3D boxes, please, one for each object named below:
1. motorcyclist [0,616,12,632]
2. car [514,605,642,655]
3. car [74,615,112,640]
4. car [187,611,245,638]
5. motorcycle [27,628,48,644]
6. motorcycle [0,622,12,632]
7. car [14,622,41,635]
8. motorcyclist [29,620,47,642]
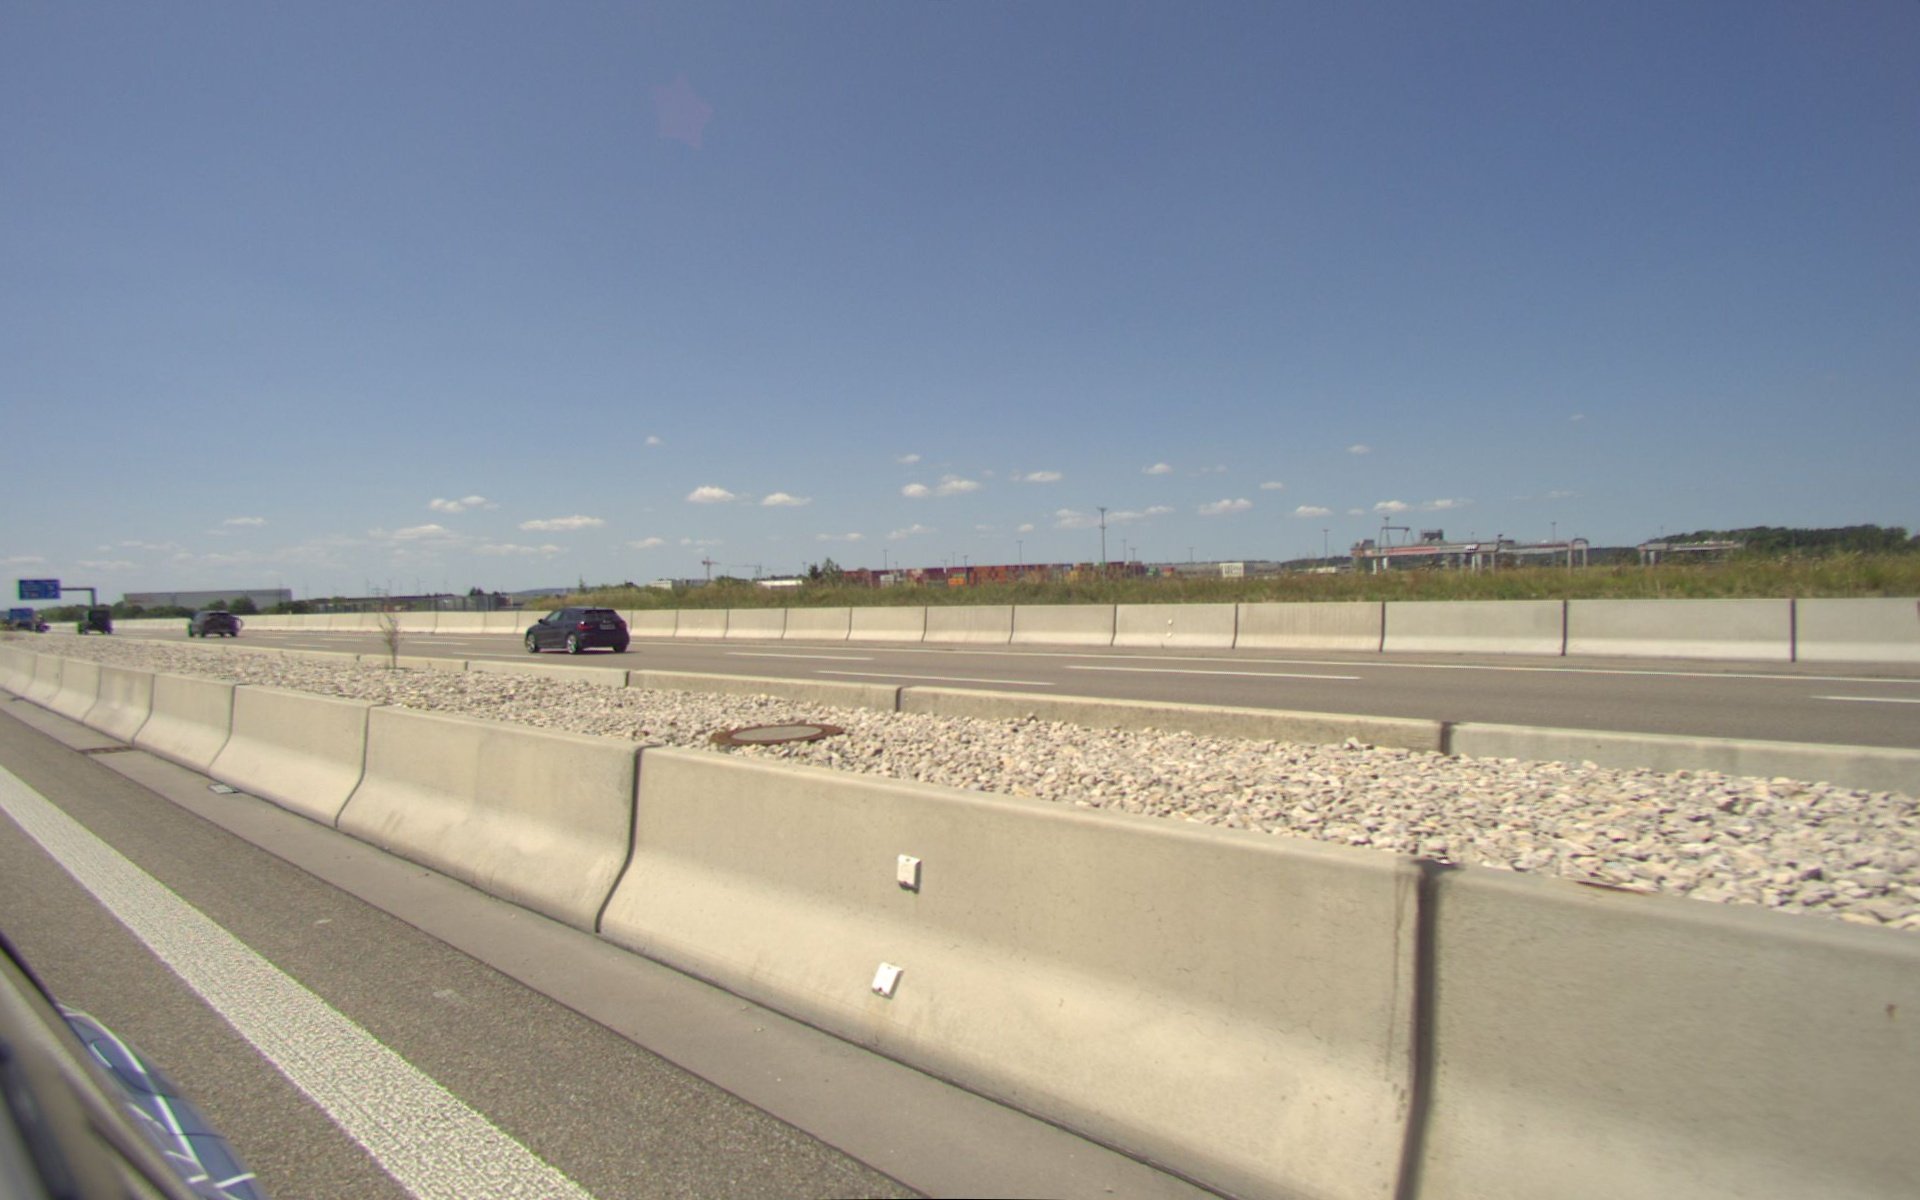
[{"bbox_3d":[-92.481,2.284,98.001,0.923,1.508,0.908,-2,-1,41],"label":"motorcyclist"},{"bbox_3d":[-11.795,0.898,31.138,4.364,1.389,1.972,-1,0,43],"label":"car"},{"bbox_3d":[-73.372,2.317,85.643,4.733,2.033,1.865,-2,-1,42],"label":"car"},{"bbox_3d":[-45.030,1.501,61.203,5.138,1.502,1.849,-2,-1,43],"label":"car"},{"bbox_3d":[-71.599,2.769,78.555,2.721,1.178,0.948,-1,0,42],"label":"motorcycle"},{"bbox_3d":[-92.316,2.605,97.849,2.704,0.909,0.767,-2,-1,42],"label":"motorcycle"},{"bbox_3d":[-113.785,3.517,123.502,4.281,1.470,1.890,-2,-1,40],"label":"car"},{"bbox_3d":[-71.444,2.403,78.409,1.087,1.633,0.910,-1,0,41],"label":"motorcyclist"}]
